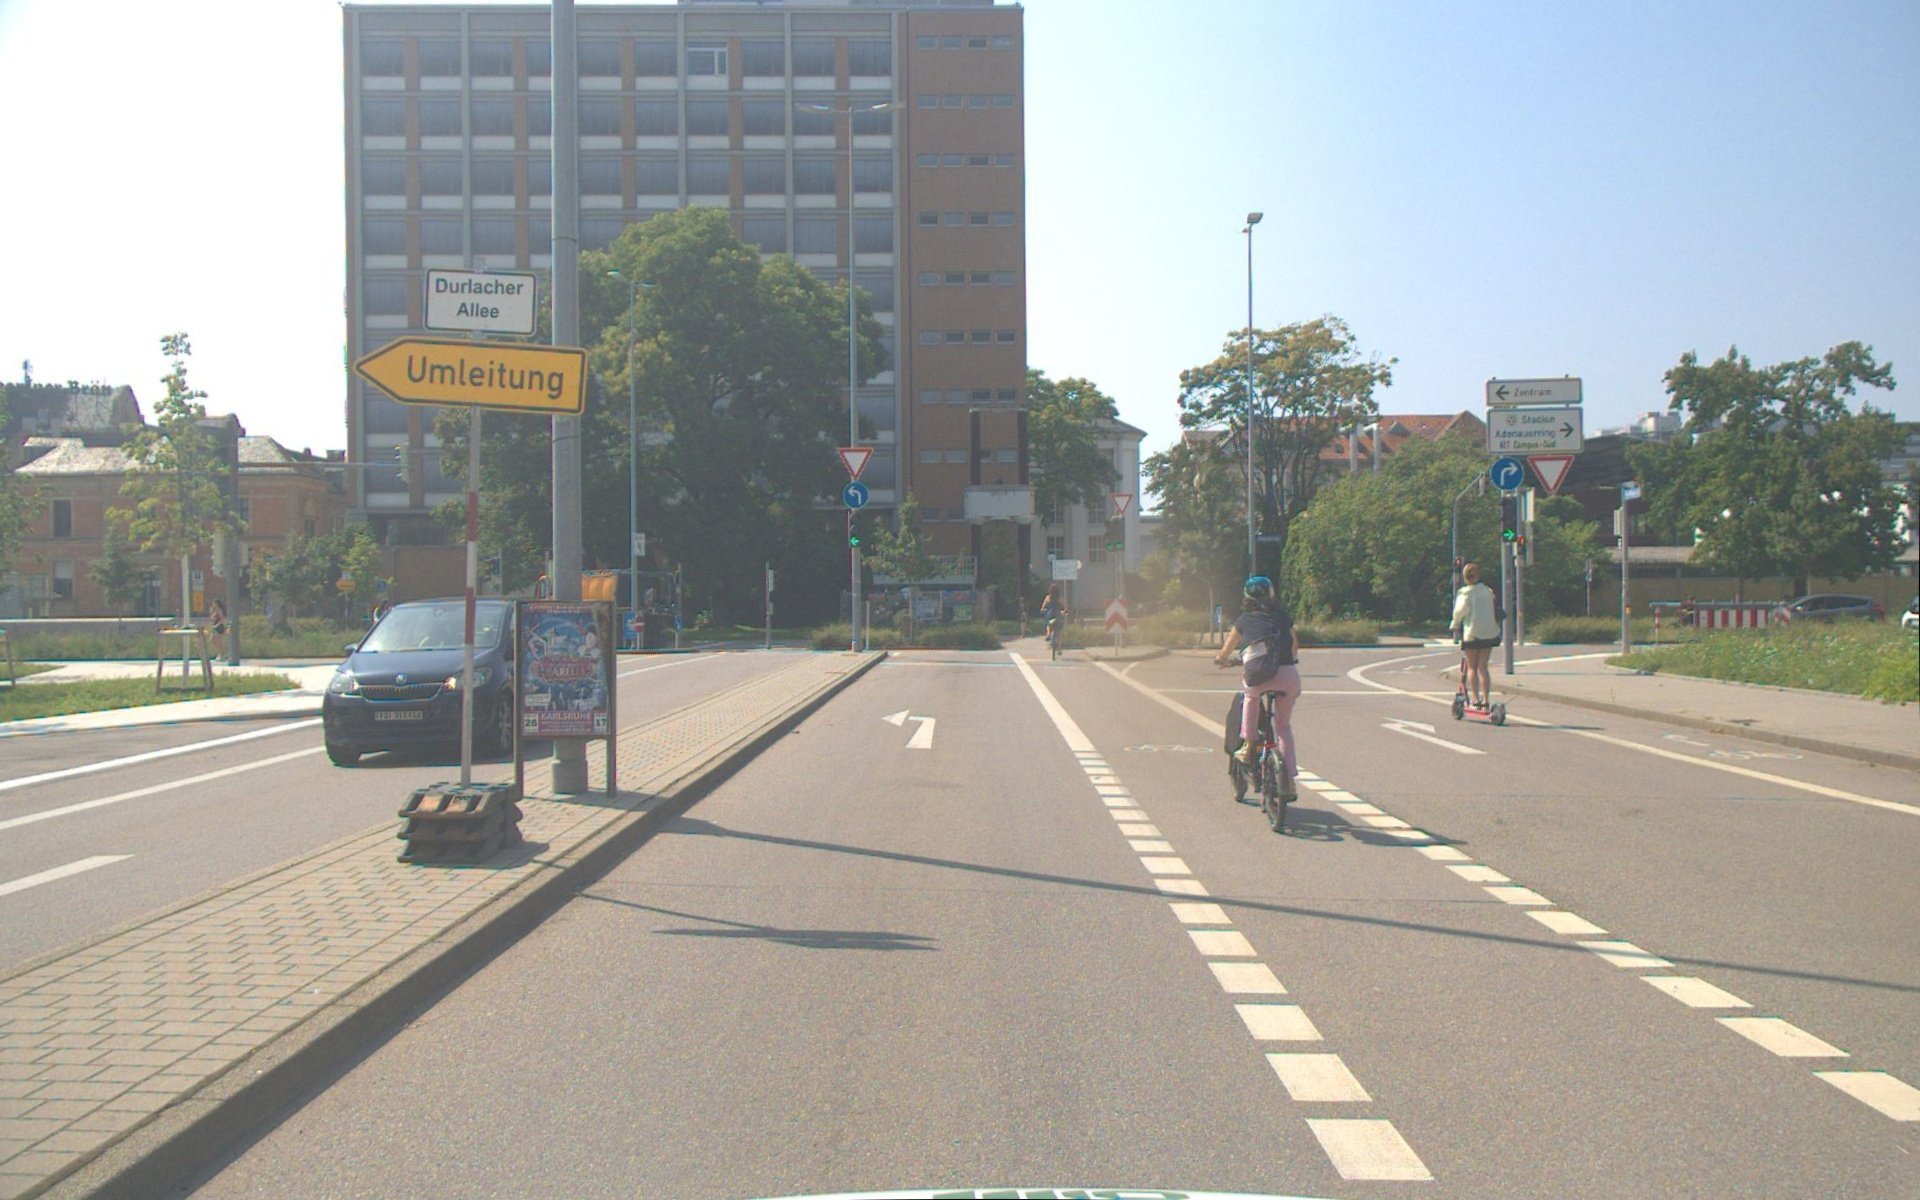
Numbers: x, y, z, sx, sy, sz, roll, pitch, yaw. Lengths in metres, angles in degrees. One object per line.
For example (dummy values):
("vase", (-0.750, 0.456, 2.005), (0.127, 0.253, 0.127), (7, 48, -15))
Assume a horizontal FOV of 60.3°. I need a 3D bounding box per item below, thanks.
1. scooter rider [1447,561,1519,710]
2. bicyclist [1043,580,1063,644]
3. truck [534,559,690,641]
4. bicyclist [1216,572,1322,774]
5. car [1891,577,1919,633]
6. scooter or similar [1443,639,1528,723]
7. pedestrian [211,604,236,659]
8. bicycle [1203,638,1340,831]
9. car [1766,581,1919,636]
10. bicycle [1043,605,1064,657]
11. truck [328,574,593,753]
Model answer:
("scooter rider", (6.445, 0.429, 20.397), (0.745, 1.806, 0.555), (-1, 0, 9))
("bicyclist", (2.129, 0.262, 37.816), (0.440, 1.446, 0.496), (-1, 0, 3))
("truck", (-13.561, 0.032, 64.291), (5.843, 3.042, 2.696), (-1, -1, 34))
("bicyclist", (2.144, 0.492, 11.522), (0.590, 1.358, 0.659), (-1, 0, -1))
("car", (26.119, 0.084, 41.980), (3.903, 1.416, 1.849), (-1, 0, 4))
("scooter or similar", (6.456, 0.978, 20.379), (0.755, 0.943, 1.622), (0, 0, 9))
("pedestrian", (-21.212, 0.901, 47.647), (0.410, 1.579, 0.528), (-1, 0, 44))
("bicycle", (2.136, 0.886, 11.526), (0.591, 1.183, 1.810), (-1, 0, 0))
("car", (26.941, 0.244, 50.359), (3.904, 1.592, 1.824), (-1, 0, 2))
("bicycle", (2.124, 0.701, 37.671), (0.435, 1.136, 1.447), (-1, 0, 3))
("truck", (-4.755, 0.542, 16.231), (1.523, 1.530, 3.620), (-1, 0, -1))
